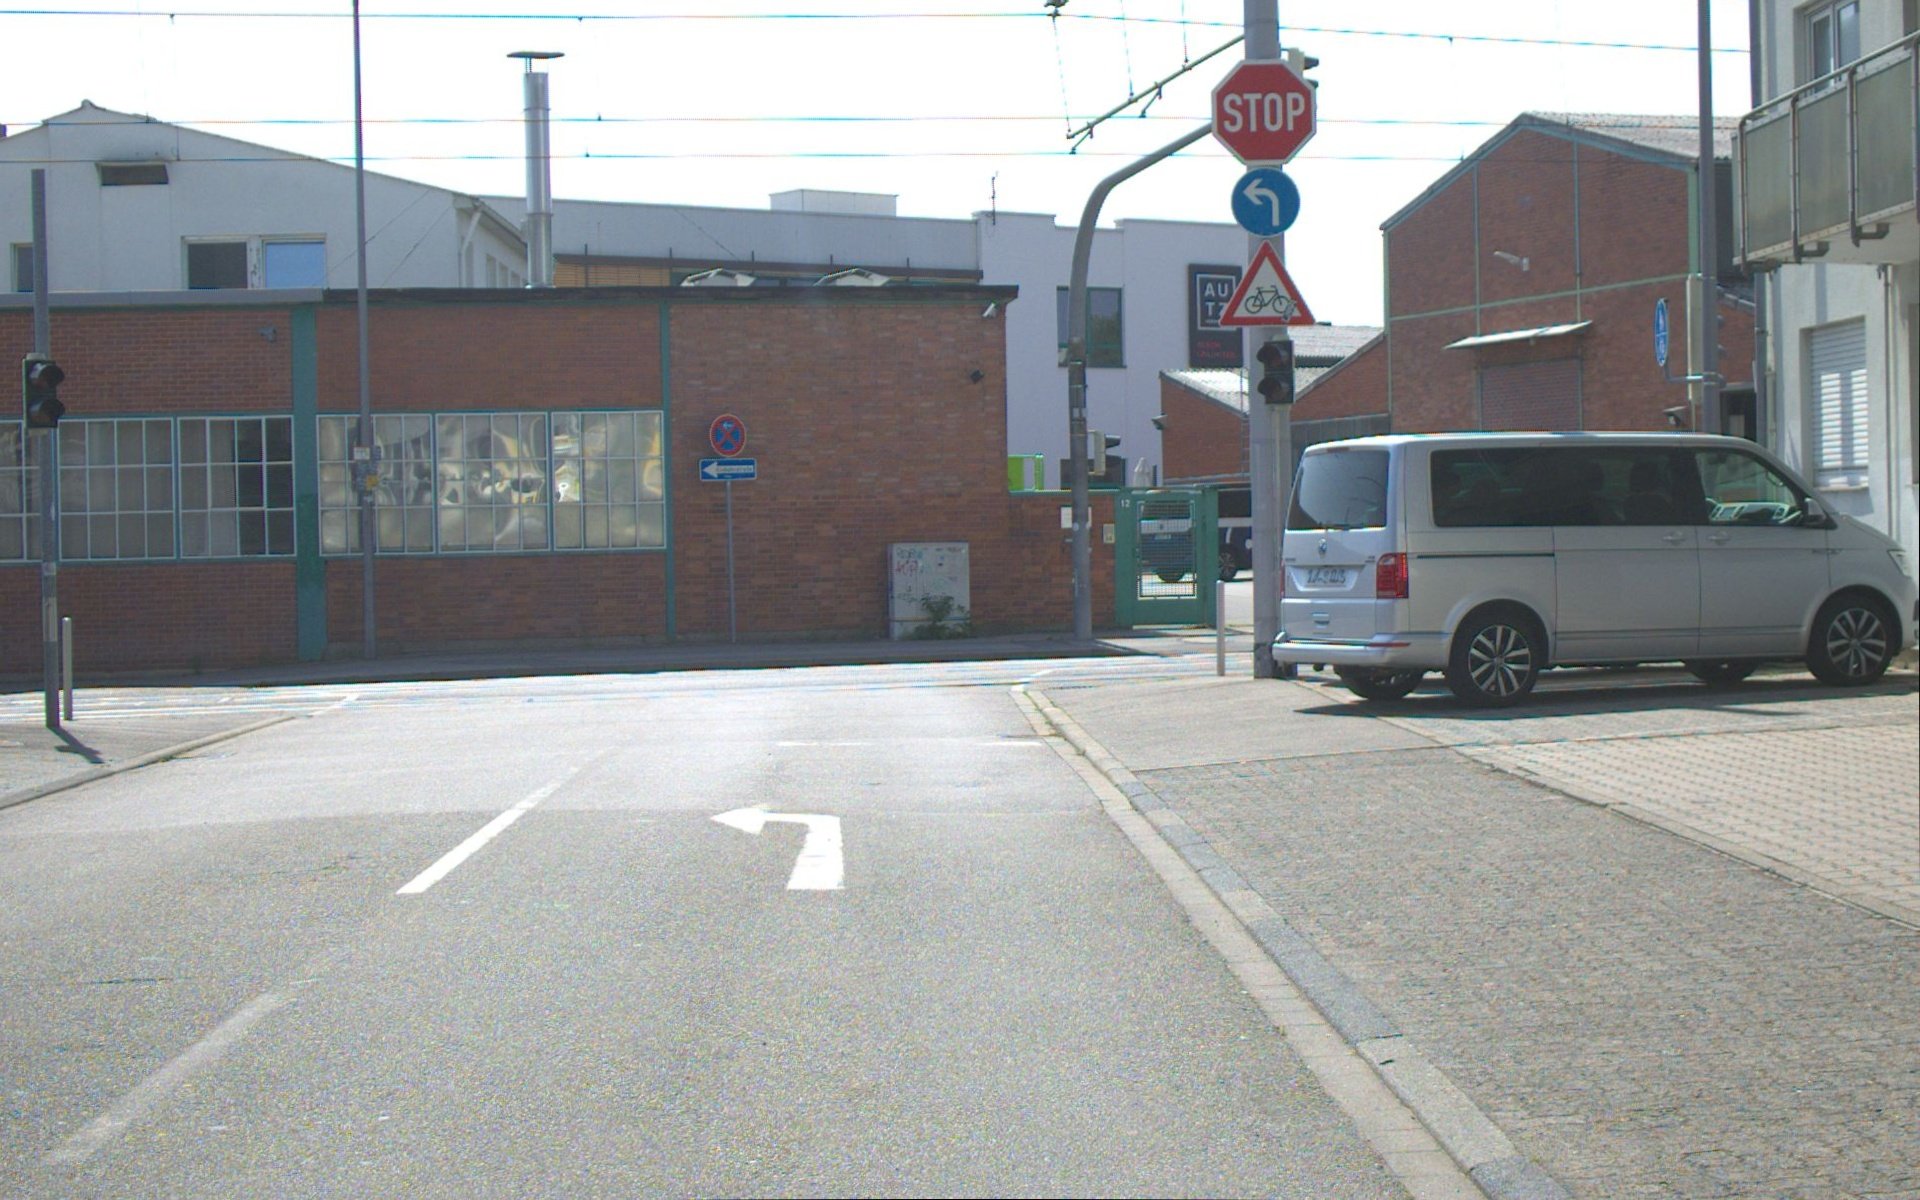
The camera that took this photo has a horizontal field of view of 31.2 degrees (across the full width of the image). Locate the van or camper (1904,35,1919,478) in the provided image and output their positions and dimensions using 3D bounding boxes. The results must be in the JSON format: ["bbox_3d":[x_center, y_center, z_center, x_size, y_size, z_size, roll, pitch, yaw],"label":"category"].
[{"bbox_3d":[10.949,-1.329,17.451,11.597,3.680,2.782,-3,1,-8],"label":"van or camper"}]

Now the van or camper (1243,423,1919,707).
[{"bbox_3d":[4.591,-0.301,25.358,4.540,1.901,2.001,-2,1,-21],"label":"van or camper"}]

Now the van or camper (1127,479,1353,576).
[{"bbox_3d":[5.783,-1.482,70.849,4.408,1.894,2.000,0,1,-37],"label":"van or camper"}]
